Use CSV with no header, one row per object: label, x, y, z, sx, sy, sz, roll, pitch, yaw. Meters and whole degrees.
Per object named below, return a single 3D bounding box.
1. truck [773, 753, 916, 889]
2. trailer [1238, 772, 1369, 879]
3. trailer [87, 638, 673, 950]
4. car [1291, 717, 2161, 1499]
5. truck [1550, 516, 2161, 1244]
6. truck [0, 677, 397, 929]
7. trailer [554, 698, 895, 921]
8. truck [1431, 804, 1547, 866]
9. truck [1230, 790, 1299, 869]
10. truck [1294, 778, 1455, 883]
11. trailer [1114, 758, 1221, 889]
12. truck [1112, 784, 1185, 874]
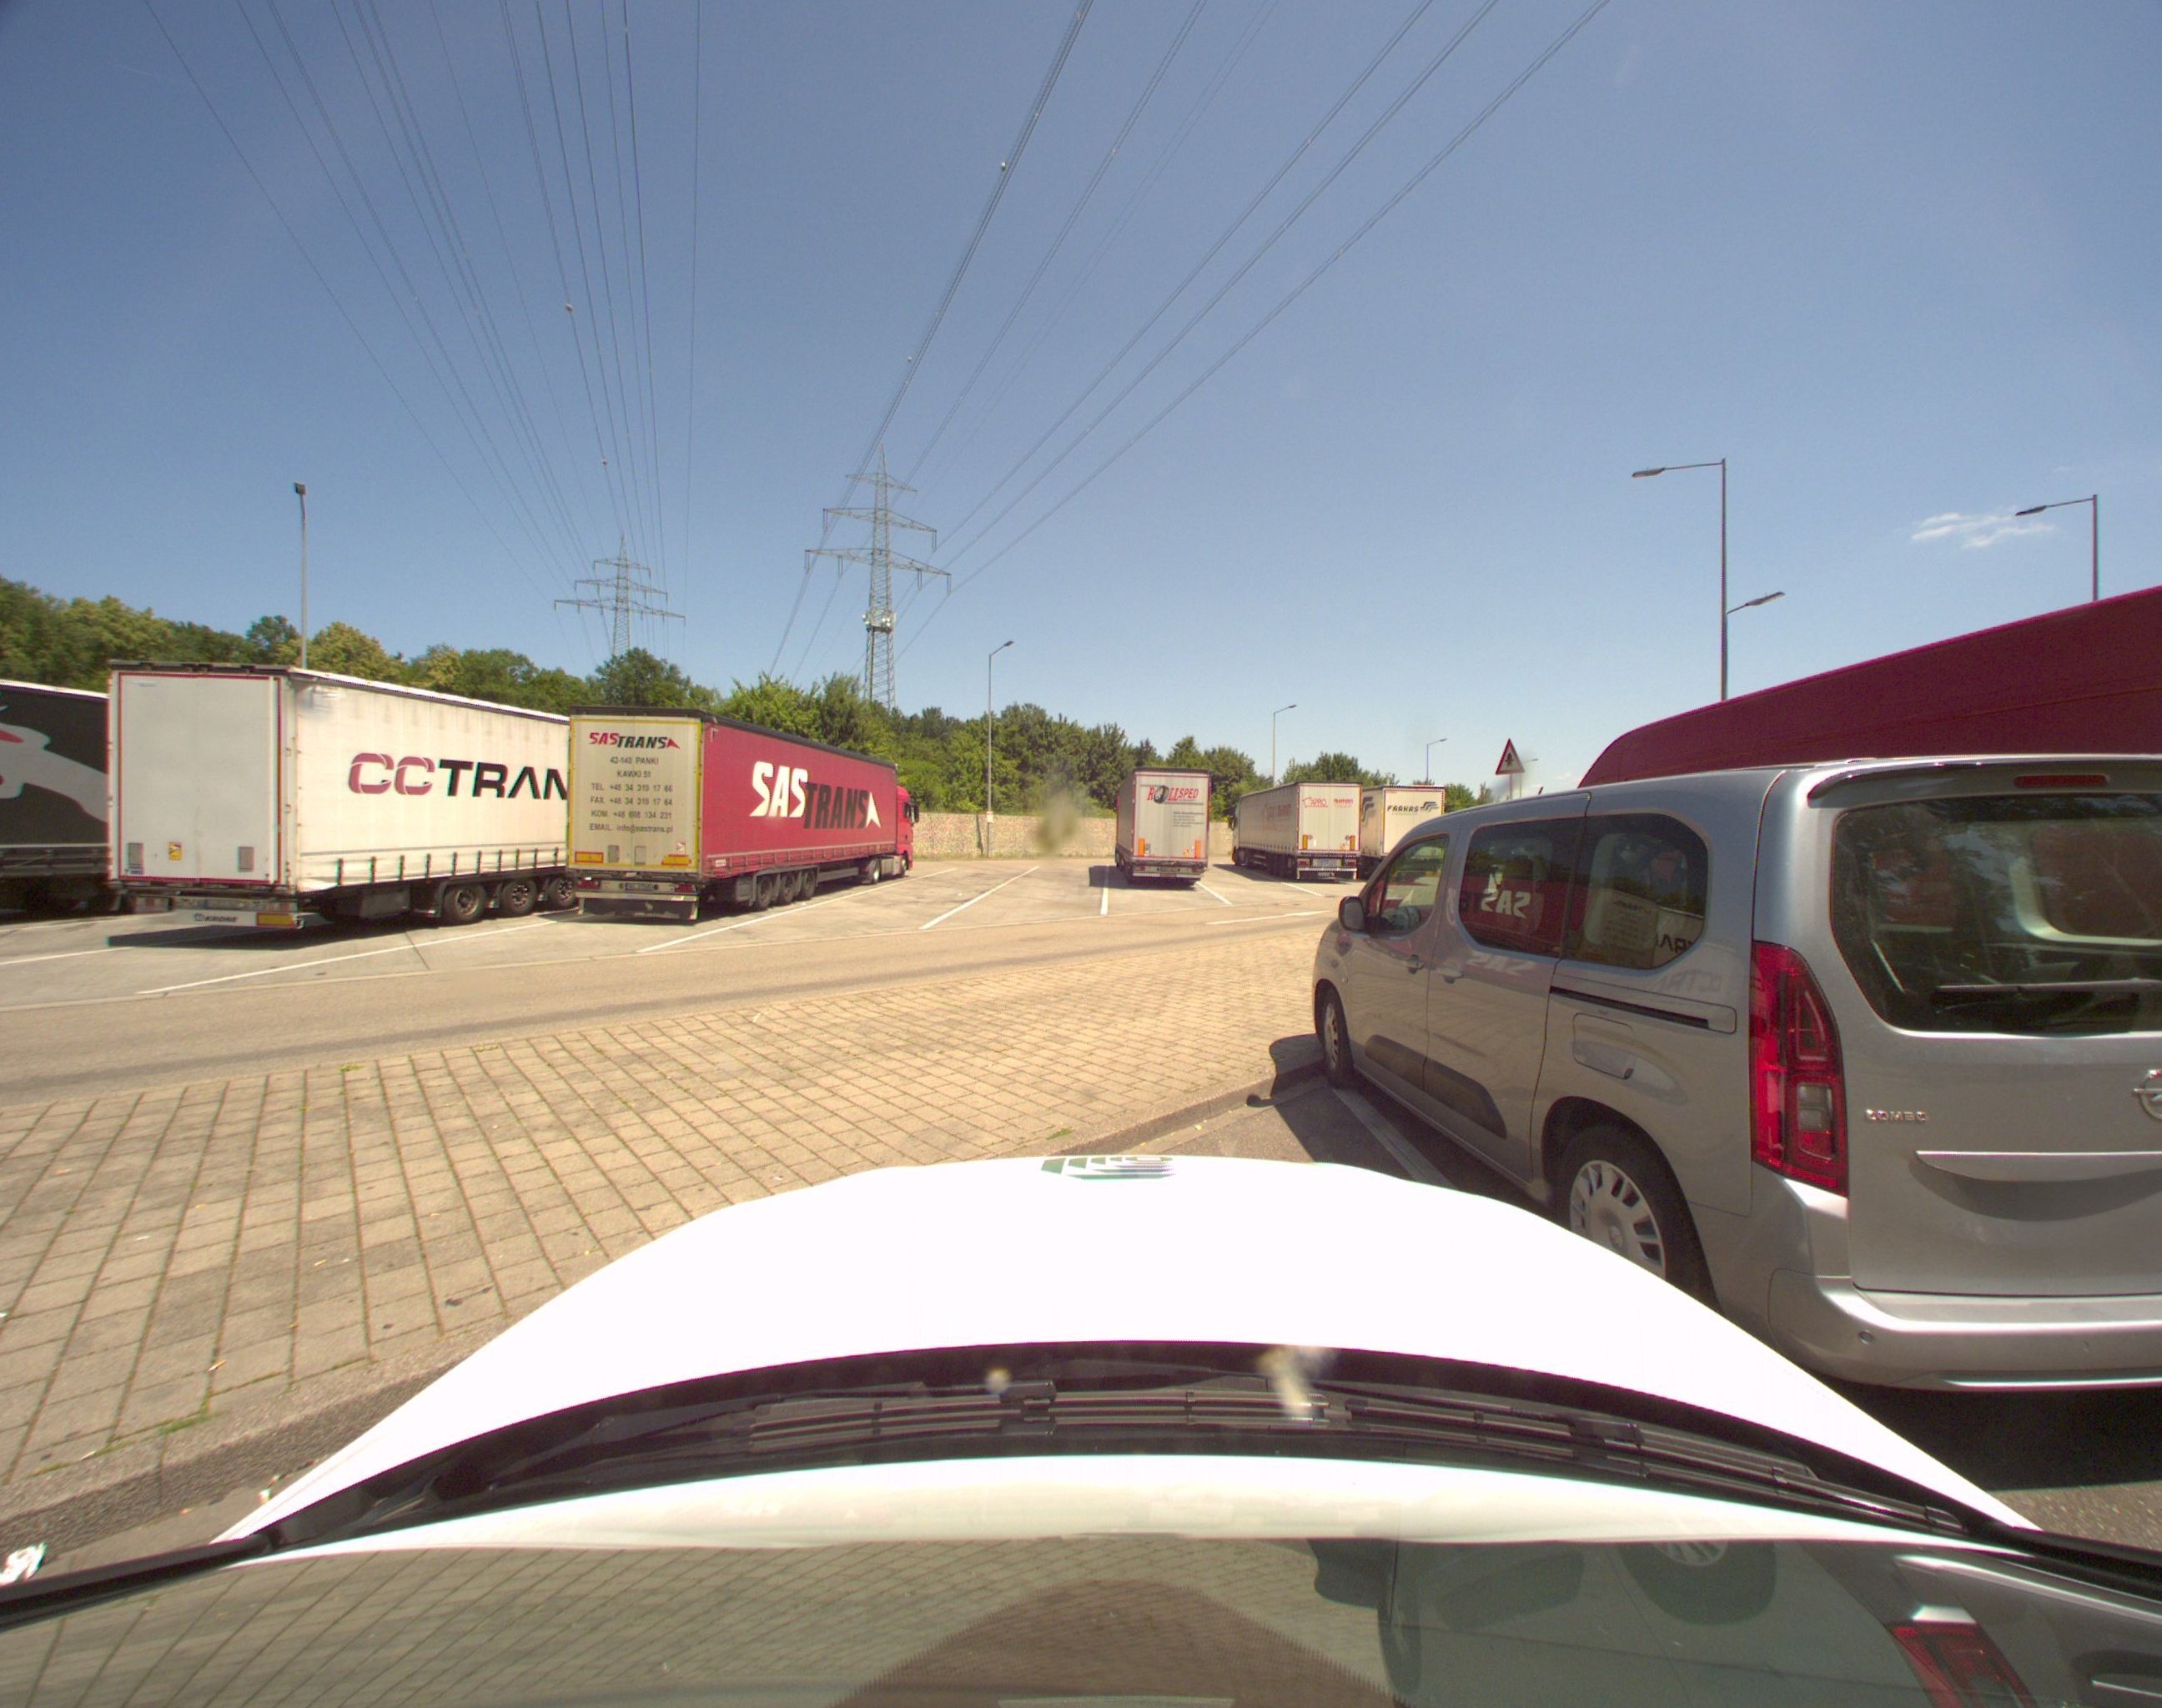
truck,-7.837,-1.048,28.026,2.733,4.081,6.832,-1,1,1
trailer,9.941,-1.208,38.418,2.865,4.124,13.577,0,1,2
trailer,-12.099,-0.892,16.083,2.734,4.263,9.740,0,1,3
car,2.470,0.534,3.861,1.821,1.753,3.998,-1,1,-2
truck,5.099,0.055,4.882,1.983,2.623,5.312,-1,1,6
truck,-18.511,-0.853,15.977,2.627,4.018,8.640,-1,1,2
trailer,-8.045,-0.915,21.542,2.739,4.057,13.292,-1,1,2
truck,24.465,-1.126,49.444,3.013,3.437,8.534,-1,1,2
truck,10.131,-1.339,45.422,2.747,4.124,5.286,-1,1,2
truck,13.577,-1.054,39.663,2.894,4.124,14.533,2,1,2
trailer,3.047,-1.184,32.748,3.059,4.227,12.811,1,2,1
truck,3.130,-1.218,39.521,3.016,3.928,6.848,1,2,1
